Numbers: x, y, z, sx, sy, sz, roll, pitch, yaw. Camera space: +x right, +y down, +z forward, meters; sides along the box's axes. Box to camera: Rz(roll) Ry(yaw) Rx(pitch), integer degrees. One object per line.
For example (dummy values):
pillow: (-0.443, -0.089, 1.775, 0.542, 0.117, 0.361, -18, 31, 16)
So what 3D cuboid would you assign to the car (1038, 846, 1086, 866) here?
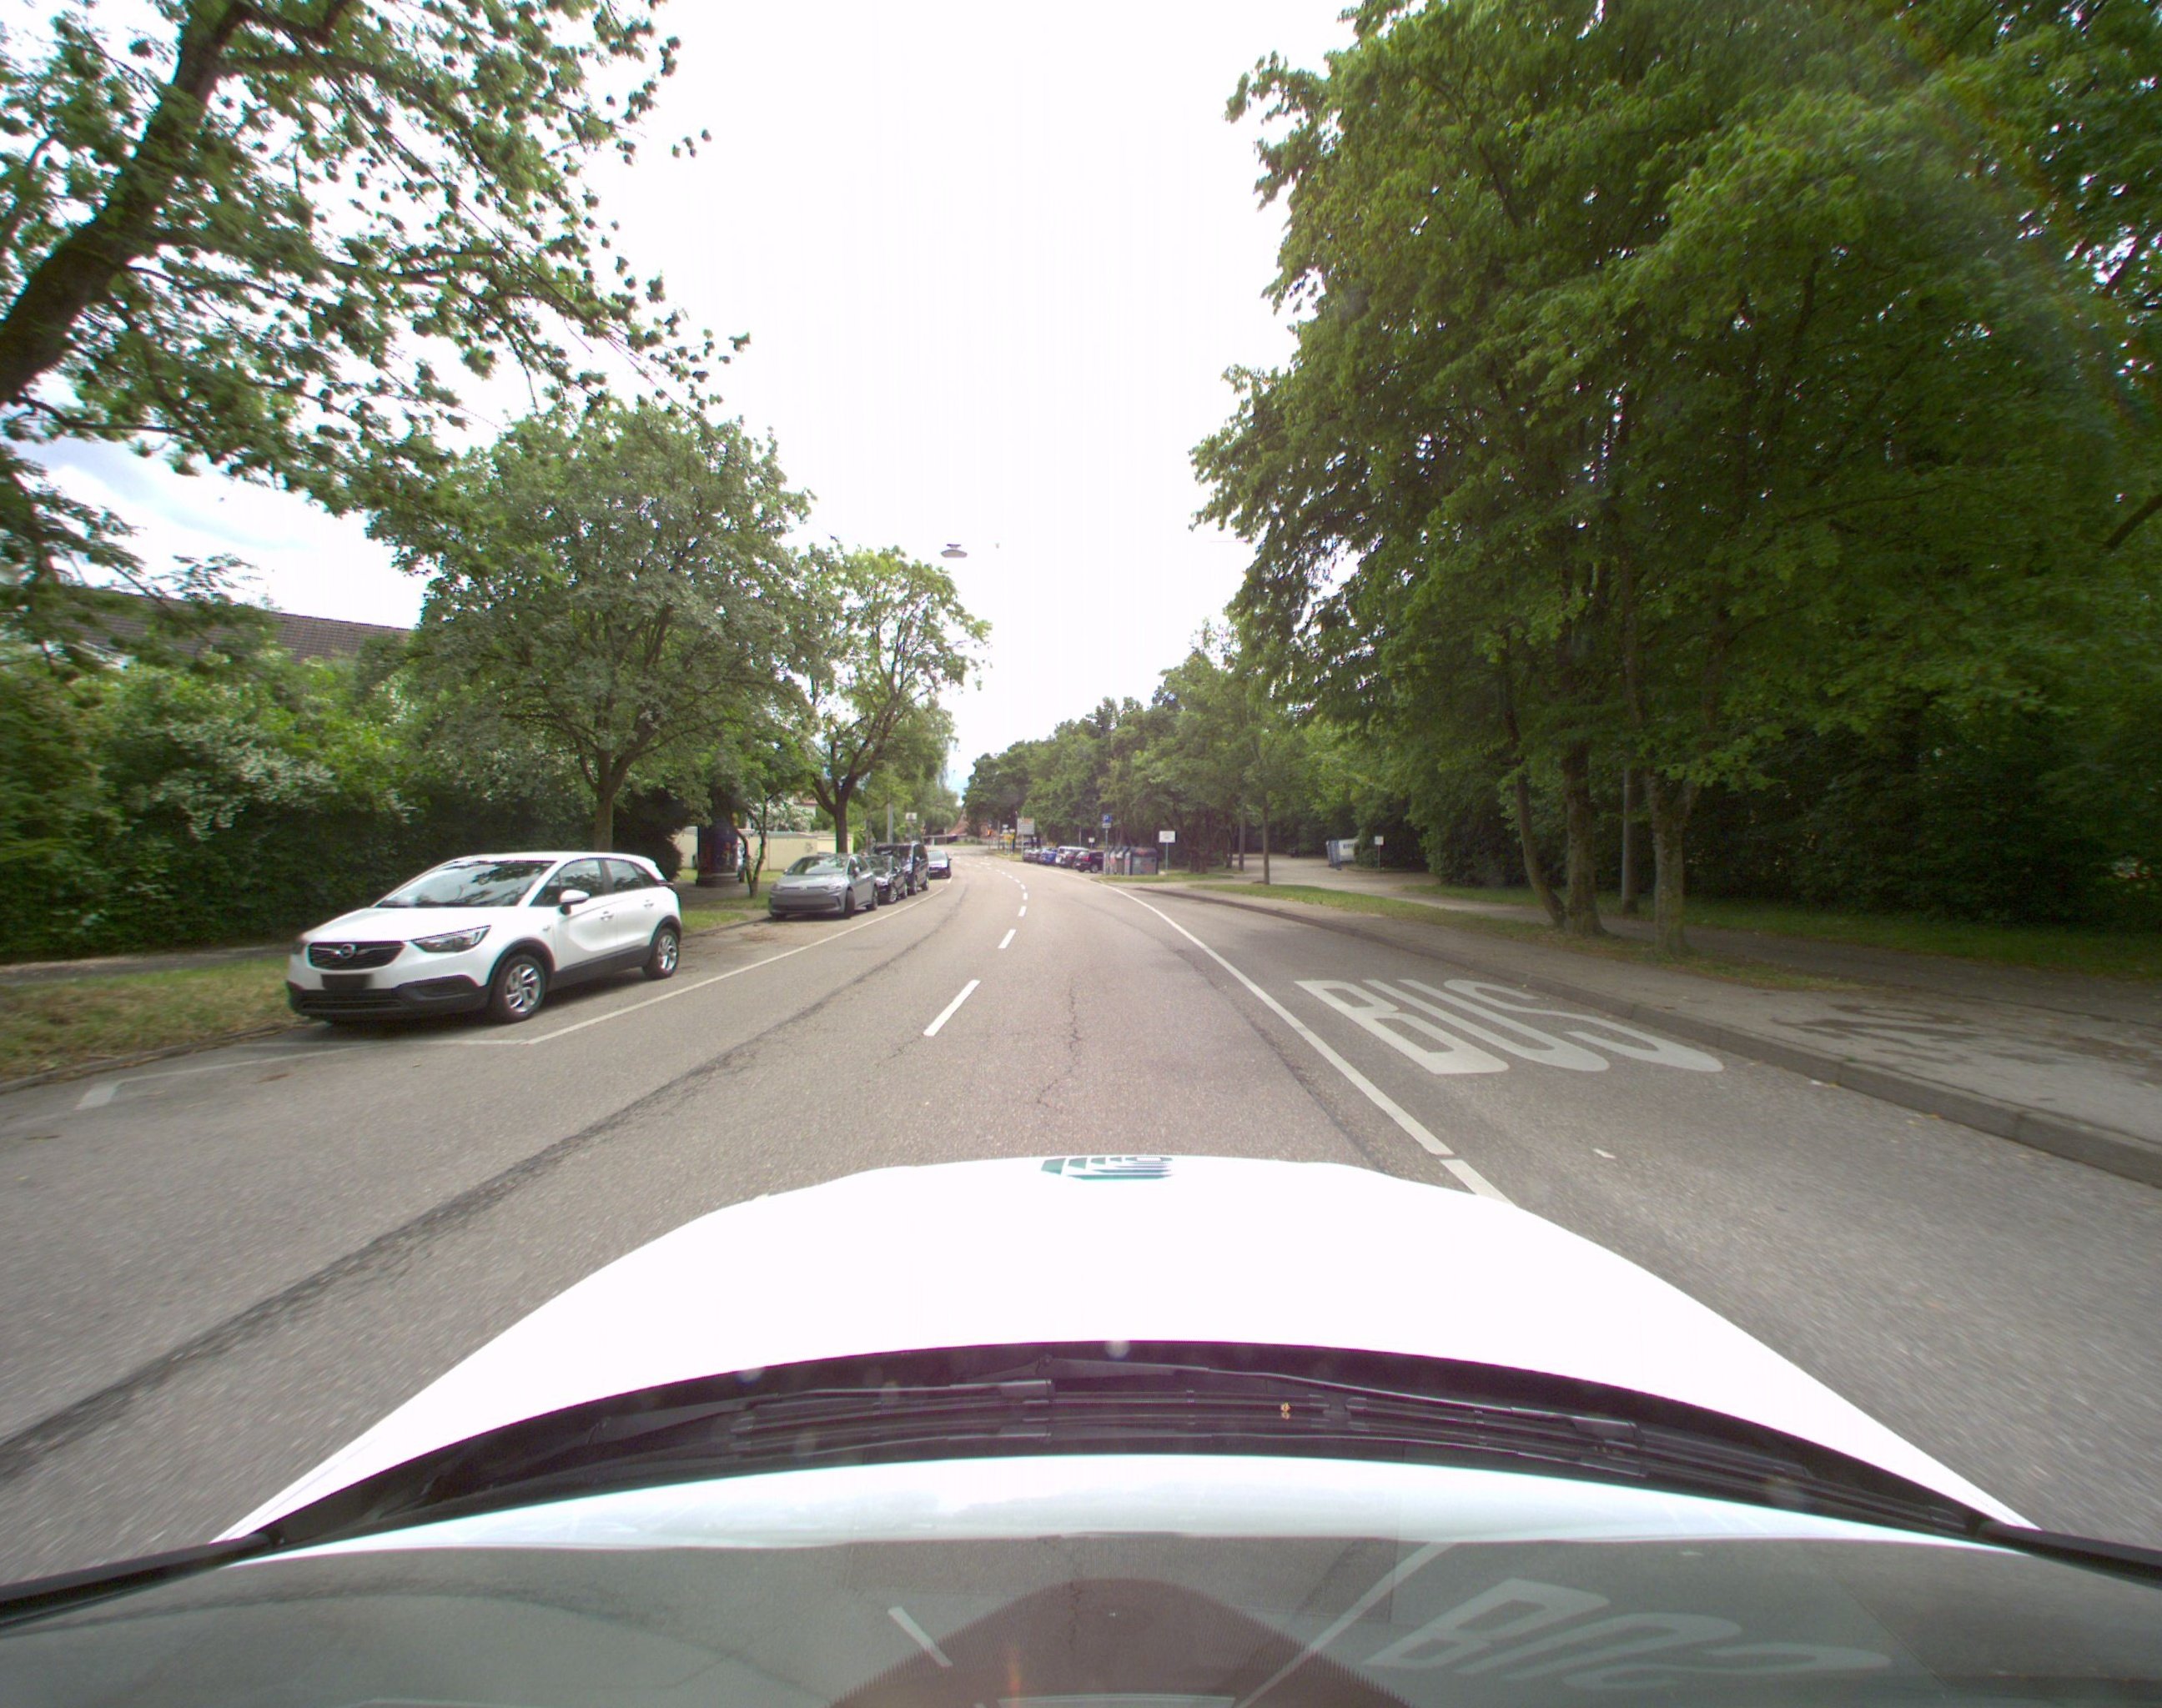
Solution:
car: (-1.662, 0.186, 71.034, 3.842, 1.528, 1.730, 3, -1, -30)

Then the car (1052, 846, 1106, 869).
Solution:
car: (-0.173, 0.265, 63.504, 3.842, 1.720, 1.860, 0, 0, -30)

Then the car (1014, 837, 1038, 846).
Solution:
car: (-10.287, -2.334, 152.395, 3.870, 1.647, 1.980, -1, 1, -32)

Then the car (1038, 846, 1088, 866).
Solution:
car: (-1.500, 0.168, 68.097, 3.842, 1.528, 1.730, 3, -1, -30)

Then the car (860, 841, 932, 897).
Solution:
car: (-6.786, 0.495, 30.396, 1.854, 1.909, 5.075, 0, 0, -4)

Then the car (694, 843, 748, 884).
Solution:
car: (-14.448, 0.362, 32.778, 1.781, 1.478, 3.960, 4, -1, -23)

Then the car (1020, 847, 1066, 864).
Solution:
car: (-3.546, 0.139, 75.901, 3.896, 1.426, 1.813, 3, -1, -30)

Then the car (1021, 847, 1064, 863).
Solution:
car: (-3.845, 0.136, 80.699, 3.842, 1.425, 1.730, 3, -1, -30)

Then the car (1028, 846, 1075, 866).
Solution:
car: (-2.610, 0.181, 72.876, 3.842, 1.528, 1.730, 3, -1, -30)

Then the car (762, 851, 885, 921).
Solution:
car: (-6.252, 0.707, 20.303, 1.861, 1.538, 4.224, 0, 0, -2)

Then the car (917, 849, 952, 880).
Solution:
car: (-8.383, 0.573, 46.853, 1.804, 1.563, 4.254, -3, 1, -8)

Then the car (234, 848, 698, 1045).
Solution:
car: (-5.987, 0.739, 8.706, 1.729, 1.578, 4.142, -1, 0, 1)

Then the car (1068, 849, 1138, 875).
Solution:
car: (1.412, 0.495, 52.568, 4.011, 1.414, 2.039, 3, 1, -30)

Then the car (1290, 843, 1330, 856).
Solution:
car: (26.055, -0.527, 92.684, 3.980, 1.409, 1.797, 0, 0, -5)

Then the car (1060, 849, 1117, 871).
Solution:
car: (0.567, 0.442, 60.783, 3.842, 1.468, 1.730, 3, 0, -30)
